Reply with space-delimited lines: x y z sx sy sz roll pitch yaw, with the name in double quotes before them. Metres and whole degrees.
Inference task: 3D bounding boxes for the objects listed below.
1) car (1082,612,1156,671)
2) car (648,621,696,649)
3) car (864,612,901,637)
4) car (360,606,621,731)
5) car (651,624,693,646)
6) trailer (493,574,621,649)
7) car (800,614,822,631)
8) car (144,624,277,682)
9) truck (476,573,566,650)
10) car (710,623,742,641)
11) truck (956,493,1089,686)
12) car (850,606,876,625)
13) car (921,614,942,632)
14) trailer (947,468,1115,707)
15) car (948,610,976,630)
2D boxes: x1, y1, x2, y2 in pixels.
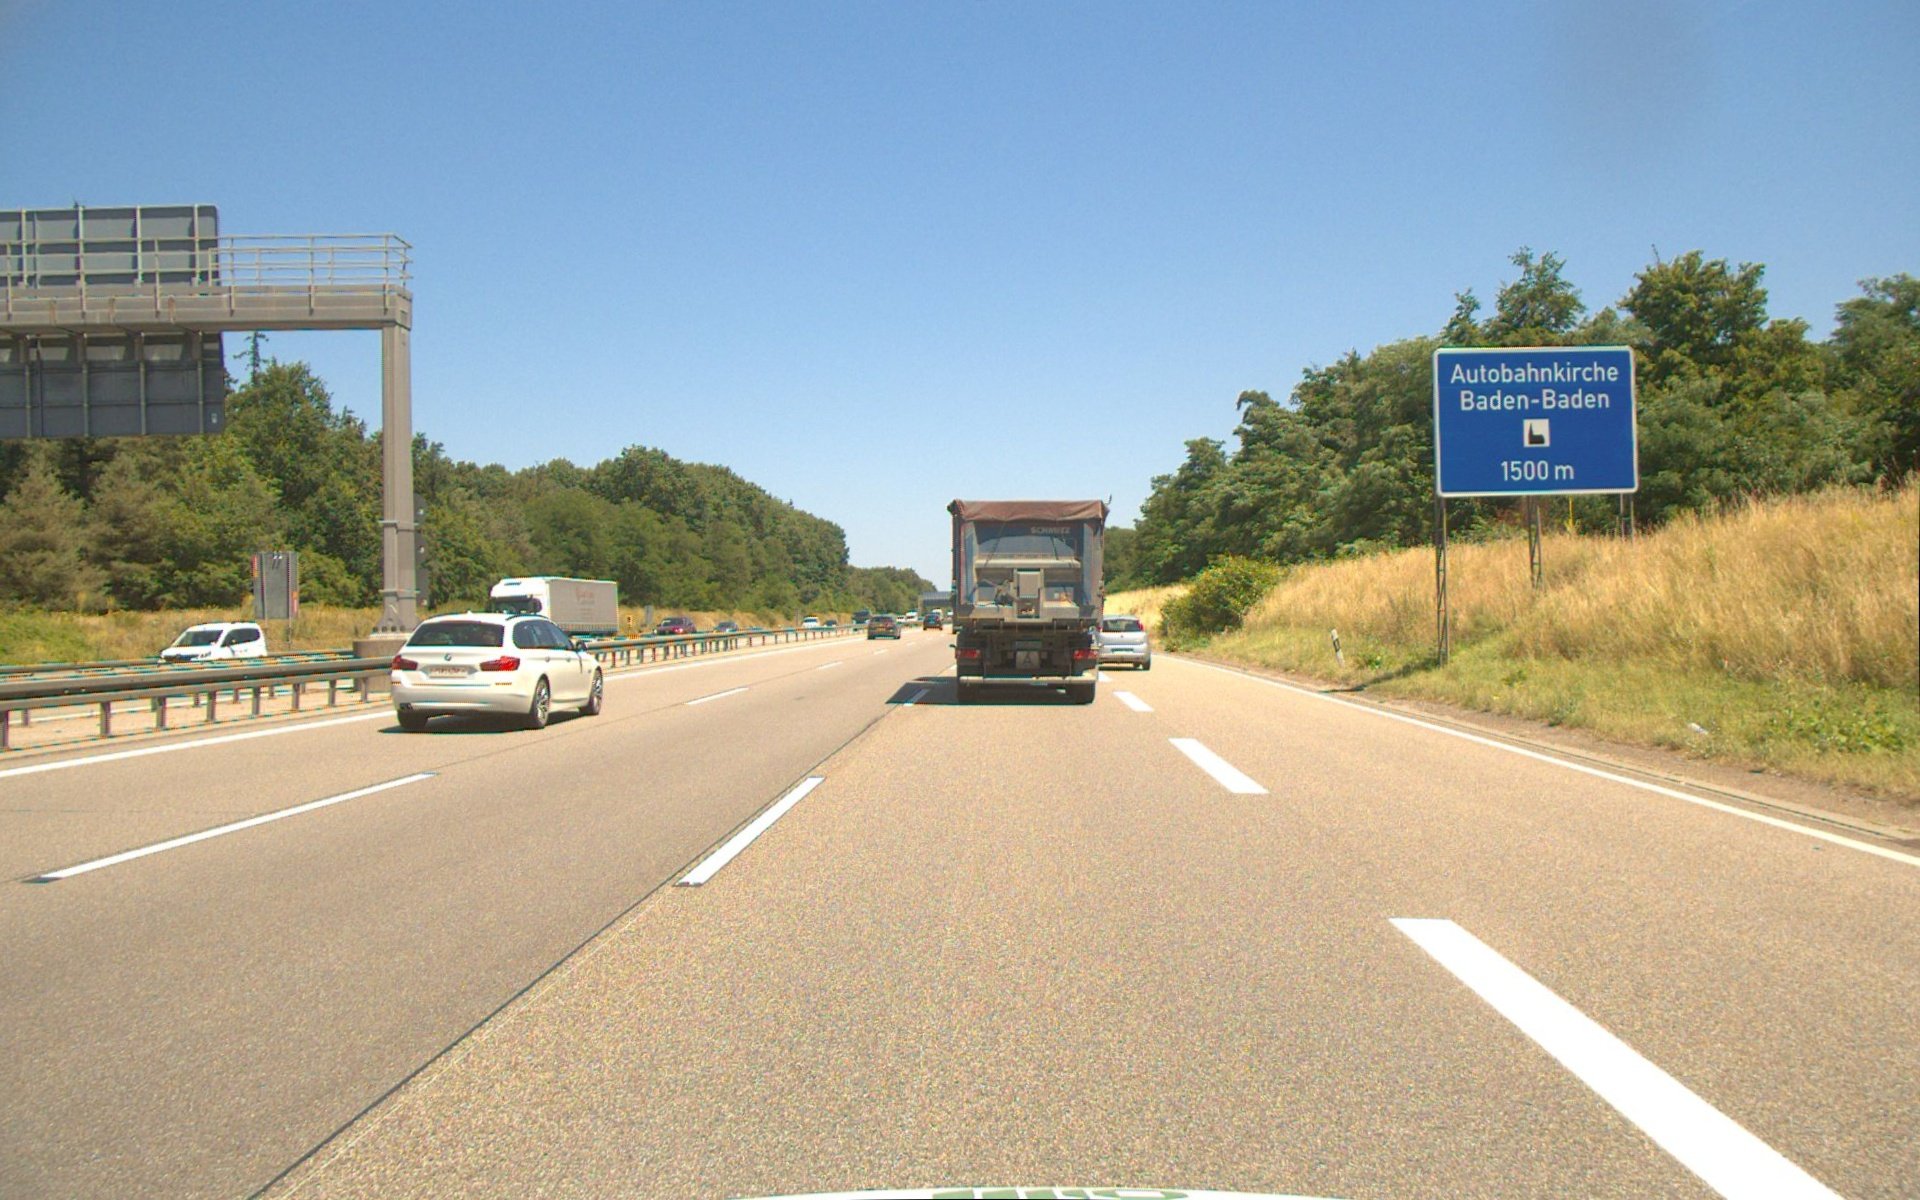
"car" 4.365 1.122 45.906 1.684 1.518 3.737 0 0 0
"car" -17.165 2.065 98.781 1.808 1.638 4.922 0 -1 2
"car" -4.617 1.428 99.021 1.794 1.457 5.000 0 0 2
"car" -6.316 0.879 23.006 1.923 1.530 5.405 0 -1 2
"car" -20.994 2.535 120.769 2.042 1.489 4.943 -1 -1 2
"trailer" -22.995 0.697 95.534 3.102 4.000 13.969 0 -1 4
"car" -17.928 2.711 199.134 1.952 1.860 4.643 -3 -1 2
"car" -24.273 1.684 53.789 1.952 1.780 4.991 0 -1 2
"truck" -23.438 0.604 88.615 3.102 4.000 5.402 0 -1 4
"car" -20.174 2.730 142.711 1.887 1.489 4.943 -1 -1 2
"truck" 1.290 -0.199 35.913 2.629 3.824 5.944 0 0 1
"car" -10.427 1.705 177.852 2.232 1.974 4.943 -1 -1 2
"car" -2.672 2.118 155.606 1.837 1.608 3.928 0 0 1
"trailer" 1.218 -0.194 31.199 2.680 3.824 9.109 0 0 1
"car" 0.167 1.522 126.535 1.854 1.495 4.263 1 0 4
